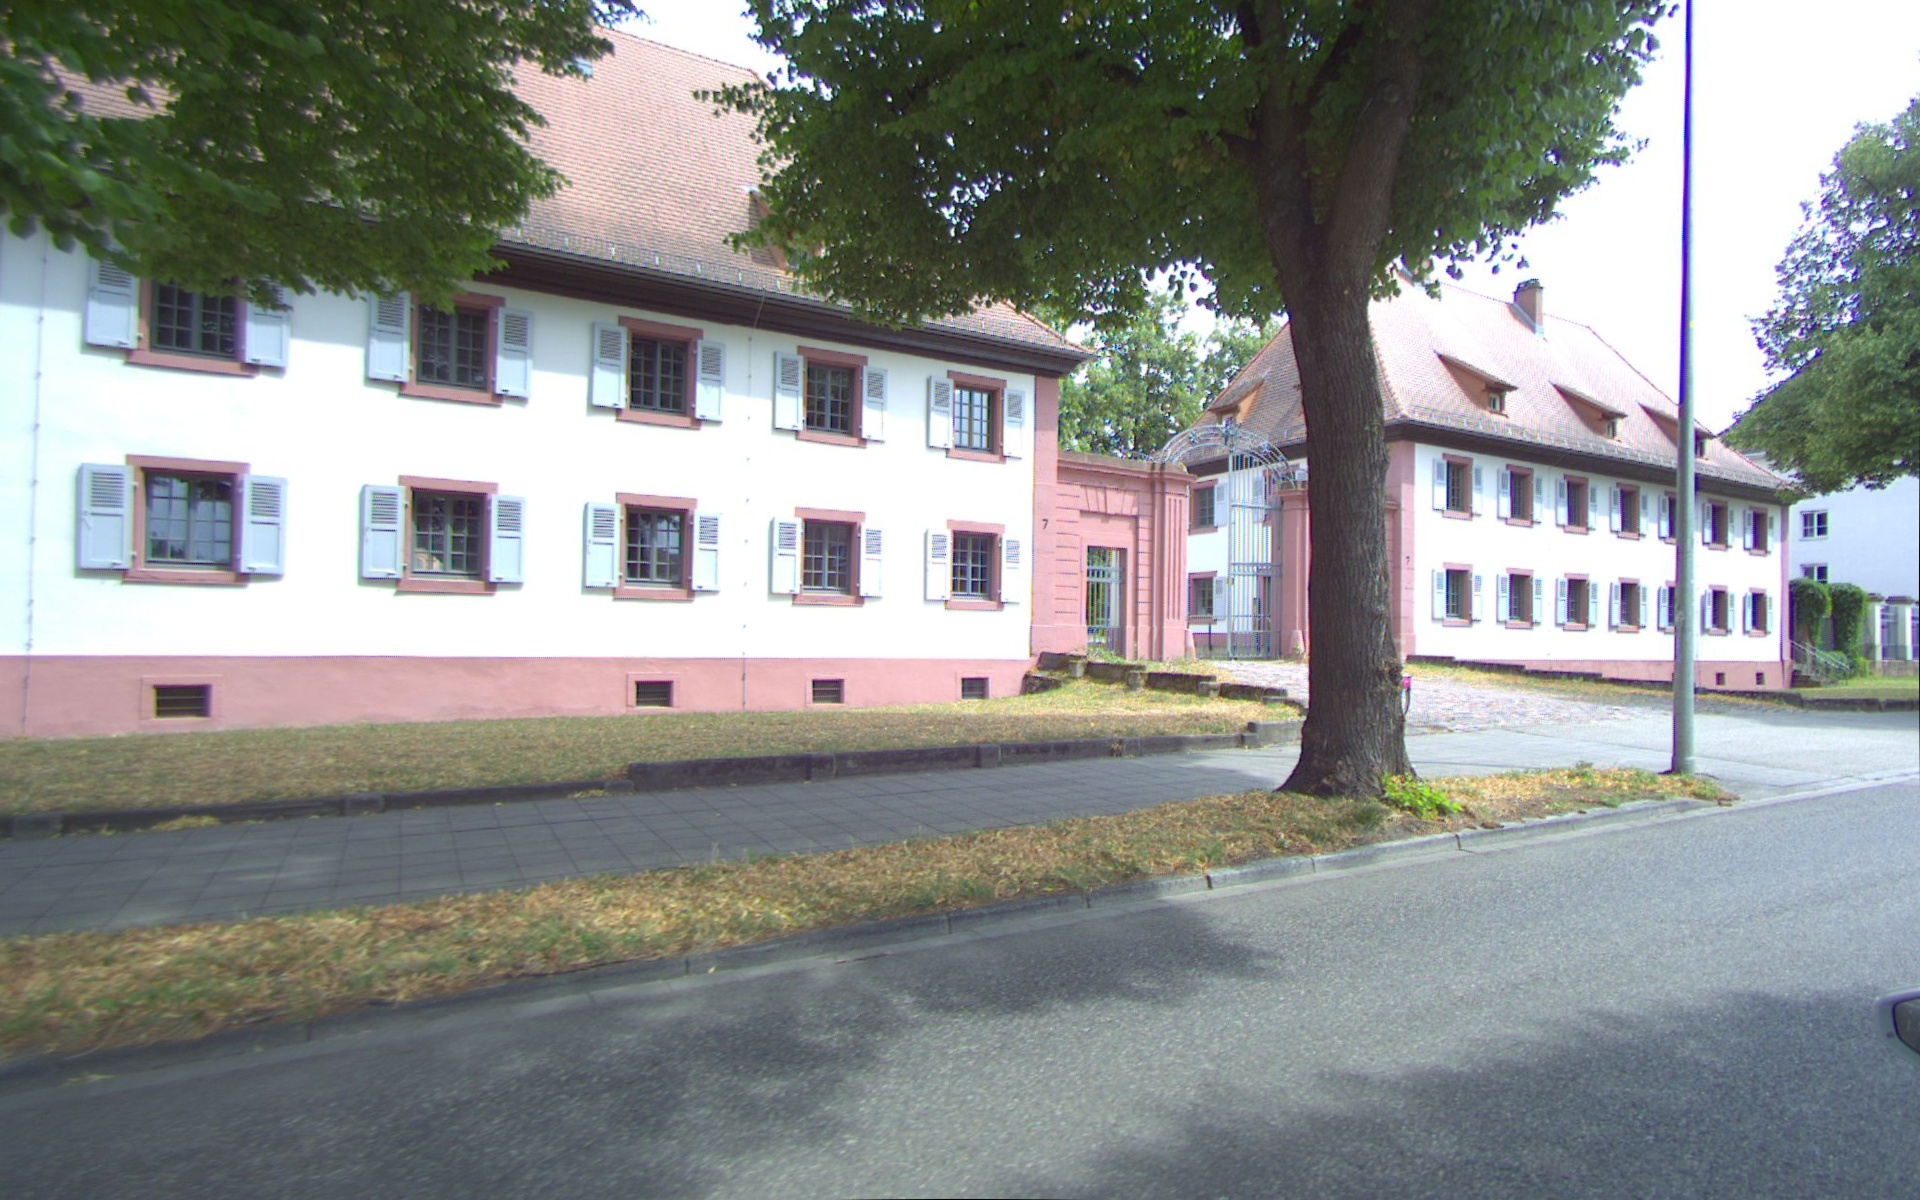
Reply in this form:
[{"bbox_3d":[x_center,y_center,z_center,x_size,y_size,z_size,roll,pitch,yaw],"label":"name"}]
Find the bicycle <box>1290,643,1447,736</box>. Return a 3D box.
[{"bbox_3d":[5.507,1.163,13.488,2.199,1.110,0.719,1,2,-30],"label":"bicycle"}]
